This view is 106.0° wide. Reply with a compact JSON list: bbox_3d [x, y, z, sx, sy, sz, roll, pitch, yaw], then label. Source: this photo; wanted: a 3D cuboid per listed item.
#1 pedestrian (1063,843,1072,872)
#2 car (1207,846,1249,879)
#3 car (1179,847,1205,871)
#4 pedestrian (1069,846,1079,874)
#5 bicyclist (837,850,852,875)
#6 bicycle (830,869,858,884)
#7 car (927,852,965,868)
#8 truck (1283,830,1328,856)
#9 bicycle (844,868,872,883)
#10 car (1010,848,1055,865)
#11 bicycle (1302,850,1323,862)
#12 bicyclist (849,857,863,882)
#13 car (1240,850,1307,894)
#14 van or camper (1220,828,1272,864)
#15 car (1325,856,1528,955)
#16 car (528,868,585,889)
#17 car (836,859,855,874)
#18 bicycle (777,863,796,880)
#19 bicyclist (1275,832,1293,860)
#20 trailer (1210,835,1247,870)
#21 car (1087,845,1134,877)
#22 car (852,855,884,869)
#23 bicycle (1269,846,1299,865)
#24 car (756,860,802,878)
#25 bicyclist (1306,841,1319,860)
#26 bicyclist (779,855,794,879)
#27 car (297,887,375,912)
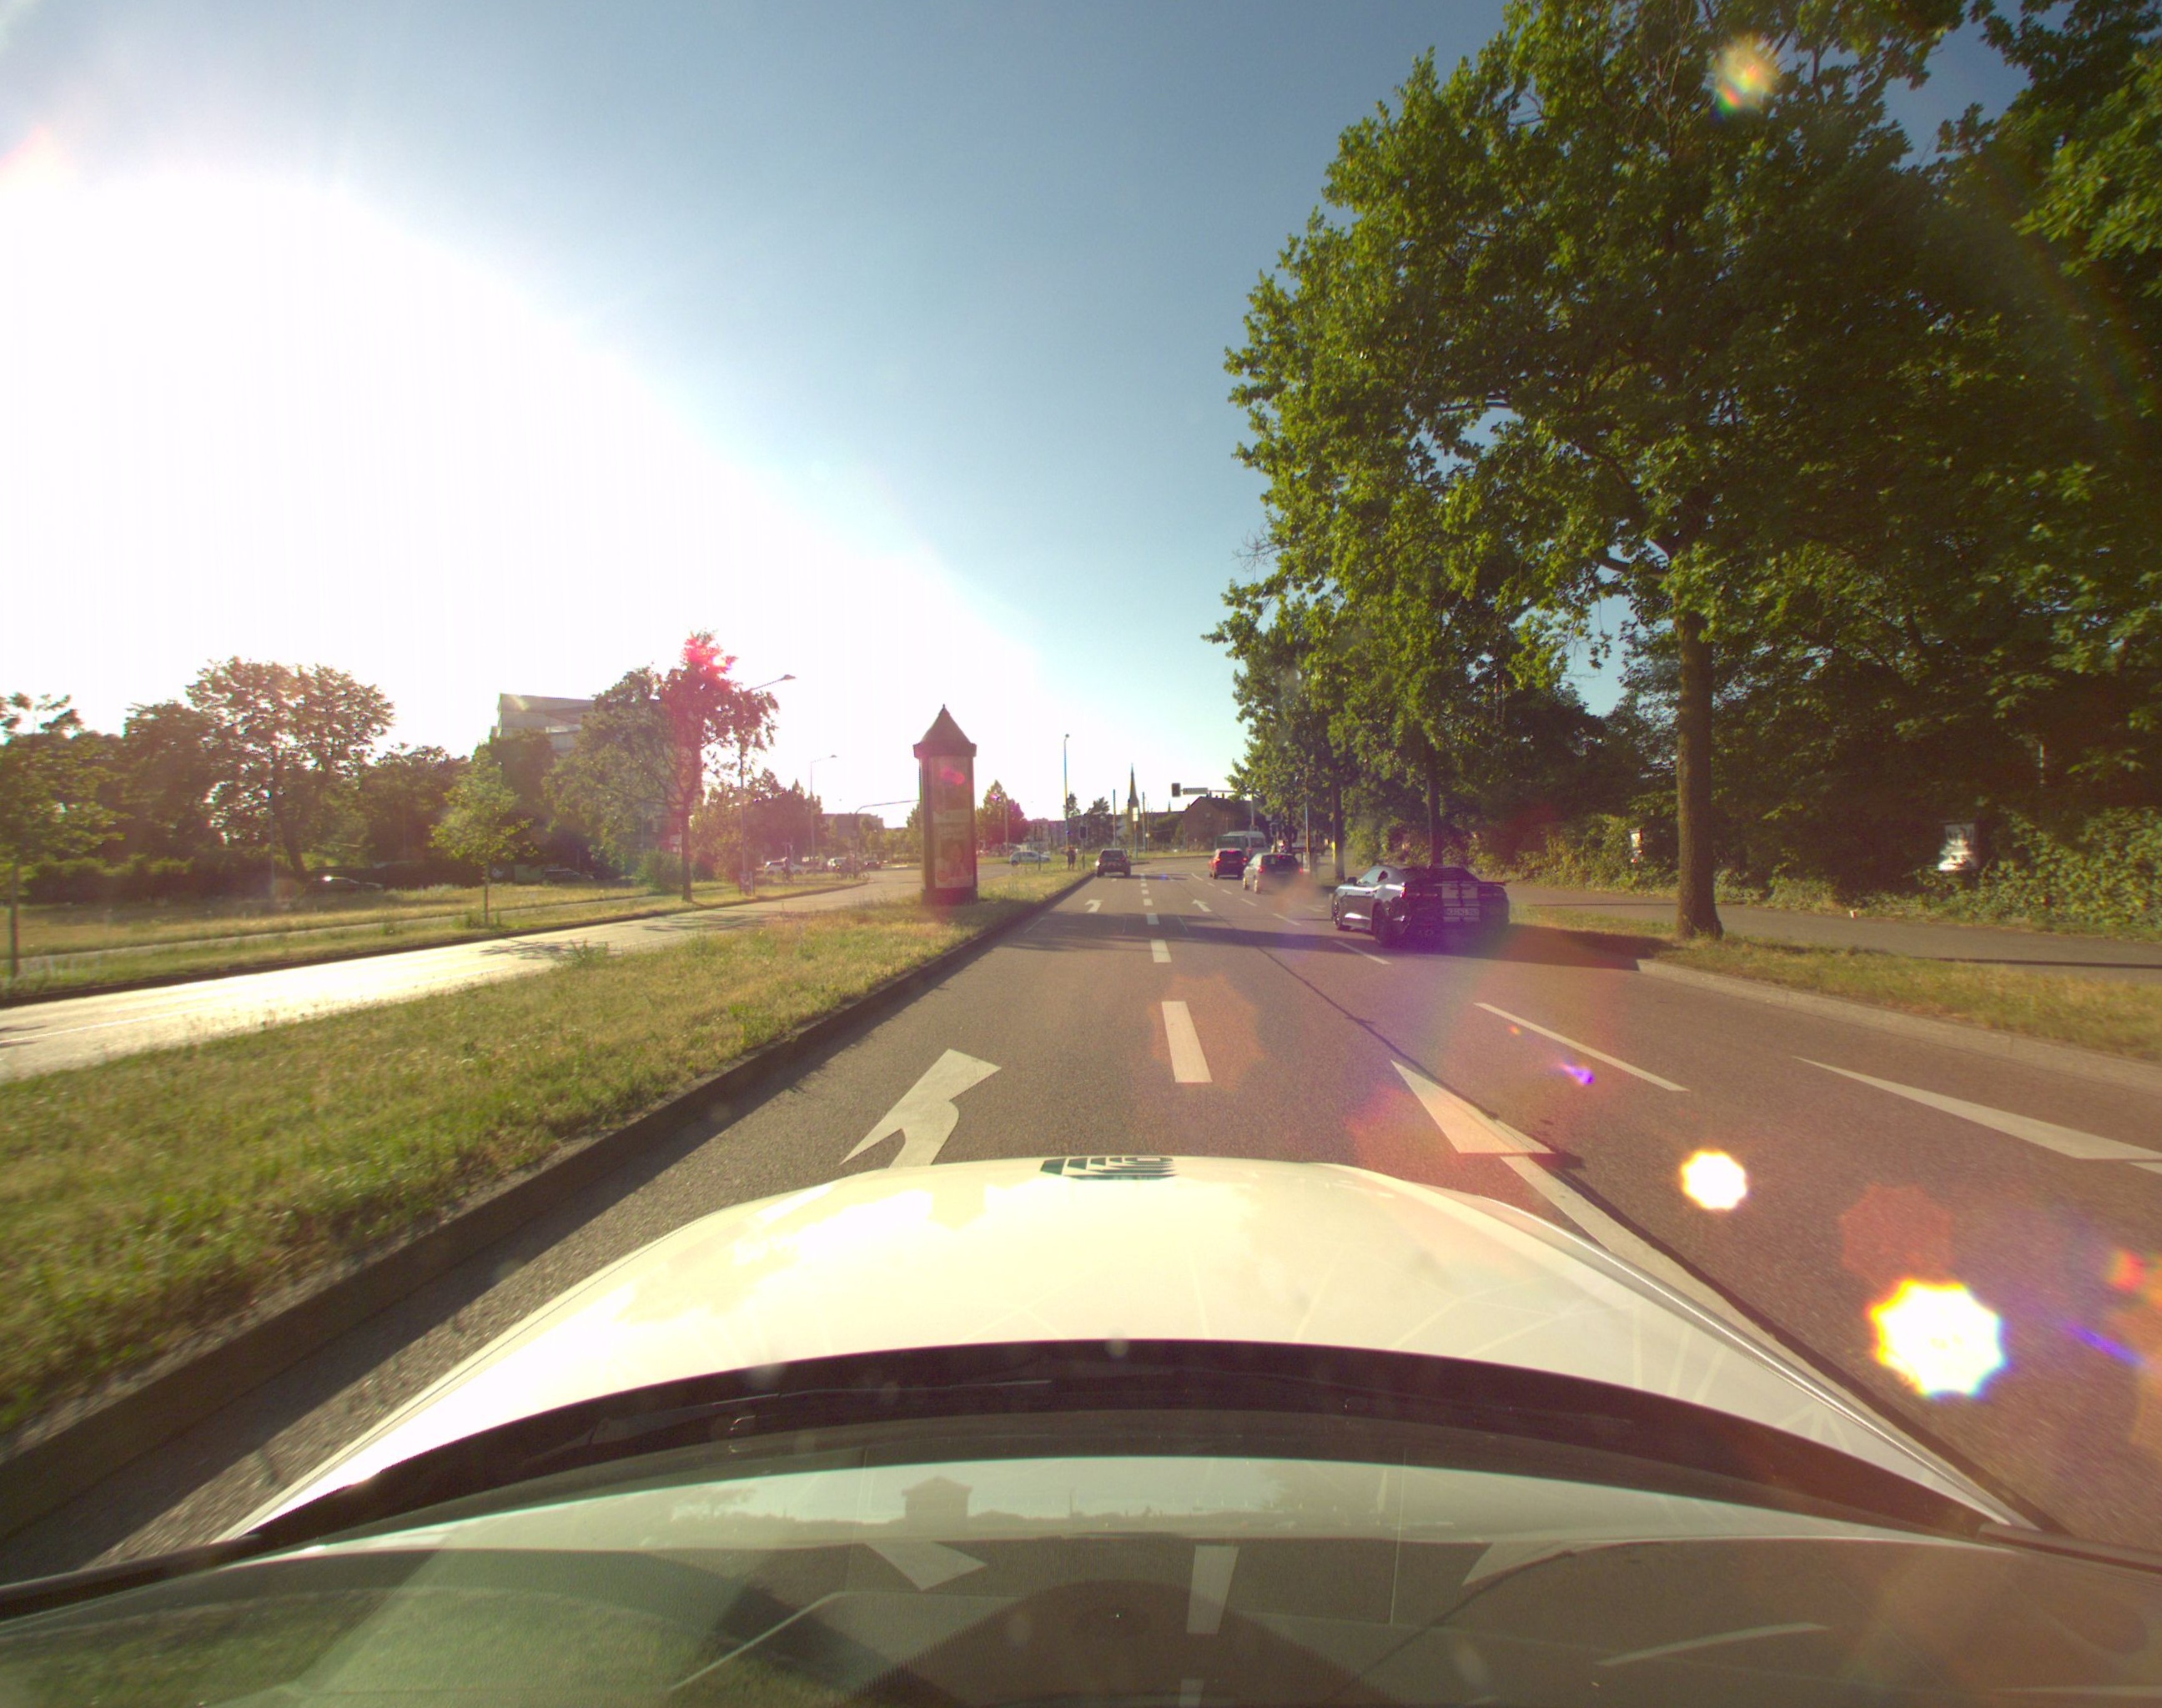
[{"bbox_3d":[-0.866,0.229,53.907,0.484,1.844,0.720,-3,0,1],"label":"pedestrian"},{"bbox_3d":[7.841,0.430,43.662,1.740,1.620,3.823,1,1,3],"label":"car"},{"bbox_3d":[8.023,0.316,58.983,1.594,1.610,4.005,-2,1,4],"label":"car"},{"bbox_3d":[-0.466,0.380,55.022,0.483,1.844,0.673,-2,0,7],"label":"pedestrian"},{"bbox_3d":[-16.629,0.599,57.231,0.806,1.770,0.499,-1,0,19],"label":"bicyclist"},{"bbox_3d":[-16.666,1.556,57.247,1.893,1.019,0.507,-1,0,19],"label":"bicycle"},{"bbox_3d":[-13.653,0.625,82.178,1.919,1.444,4.091,-3,1,-40],"label":"car"},{"bbox_3d":[23.137,-1.158,83.747,2.555,2.557,6.292,-1,1,34],"label":"truck"},{"bbox_3d":[-16.034,1.524,58.503,1.896,1.019,0.506,-1,0,10],"label":"bicycle"},{"bbox_3d":[-4.576,0.250,76.527,3.717,1.434,1.844,-2,1,17],"label":"car"},{"bbox_3d":[16.598,0.167,58.379,1.461,0.786,0.438,-3,0,-14],"label":"bicycle"},{"bbox_3d":[-16.195,1.128,58.536,0.807,1.789,0.498,-1,0,11],"label":"bicyclist"},{"bbox_3d":[7.113,0.622,30.414,1.740,1.473,3.823,-2,1,3],"label":"car"},{"bbox_3d":[12.914,-0.633,63.294,2.263,2.629,6.623,-1,1,27],"label":"van or camper"},{"bbox_3d":[5.774,0.767,14.299,1.846,1.338,4.630,-2,1,4],"label":"car"},{"bbox_3d":[-43.292,2.000,67.227,3.728,1.508,1.854,-3,1,-39],"label":"car"},{"bbox_3d":[-23.743,1.234,82.191,1.671,1.441,3.596,-4,1,-16],"label":"car"},{"bbox_3d":[-21.171,1.257,58.506,0.729,1.118,1.803,-2,0,-36],"label":"bicycle"},{"bbox_3d":[14.276,-0.547,57.336,0.927,1.899,0.605,-4,0,40],"label":"bicyclist"},{"bbox_3d":[10.468,-0.135,57.777,2.073,2.400,3.518,-1,1,18],"label":"trailer"},{"bbox_3d":[1.637,0.399,46.725,1.905,1.660,3.988,-2,0,-9],"label":"car"},{"bbox_3d":[-23.422,0.911,89.498,1.682,1.376,4.099,-4,1,-41],"label":"car"},{"bbox_3d":[14.295,0.126,57.348,1.885,1.244,0.613,-4,0,40],"label":"bicycle"},{"bbox_3d":[-28.598,1.425,77.151,3.982,1.508,1.834,-3,1,-24],"label":"car"},{"bbox_3d":[16.597,-0.253,58.384,0.649,1.294,0.464,-3,1,-14],"label":"bicyclist"},{"bbox_3d":[-21.111,0.942,58.393,0.713,1.666,0.822,-3,0,-36],"label":"bicyclist"},{"bbox_3d":[-53.496,3.238,58.589,4.014,1.508,1.854,-3,0,-39],"label":"car"}]
